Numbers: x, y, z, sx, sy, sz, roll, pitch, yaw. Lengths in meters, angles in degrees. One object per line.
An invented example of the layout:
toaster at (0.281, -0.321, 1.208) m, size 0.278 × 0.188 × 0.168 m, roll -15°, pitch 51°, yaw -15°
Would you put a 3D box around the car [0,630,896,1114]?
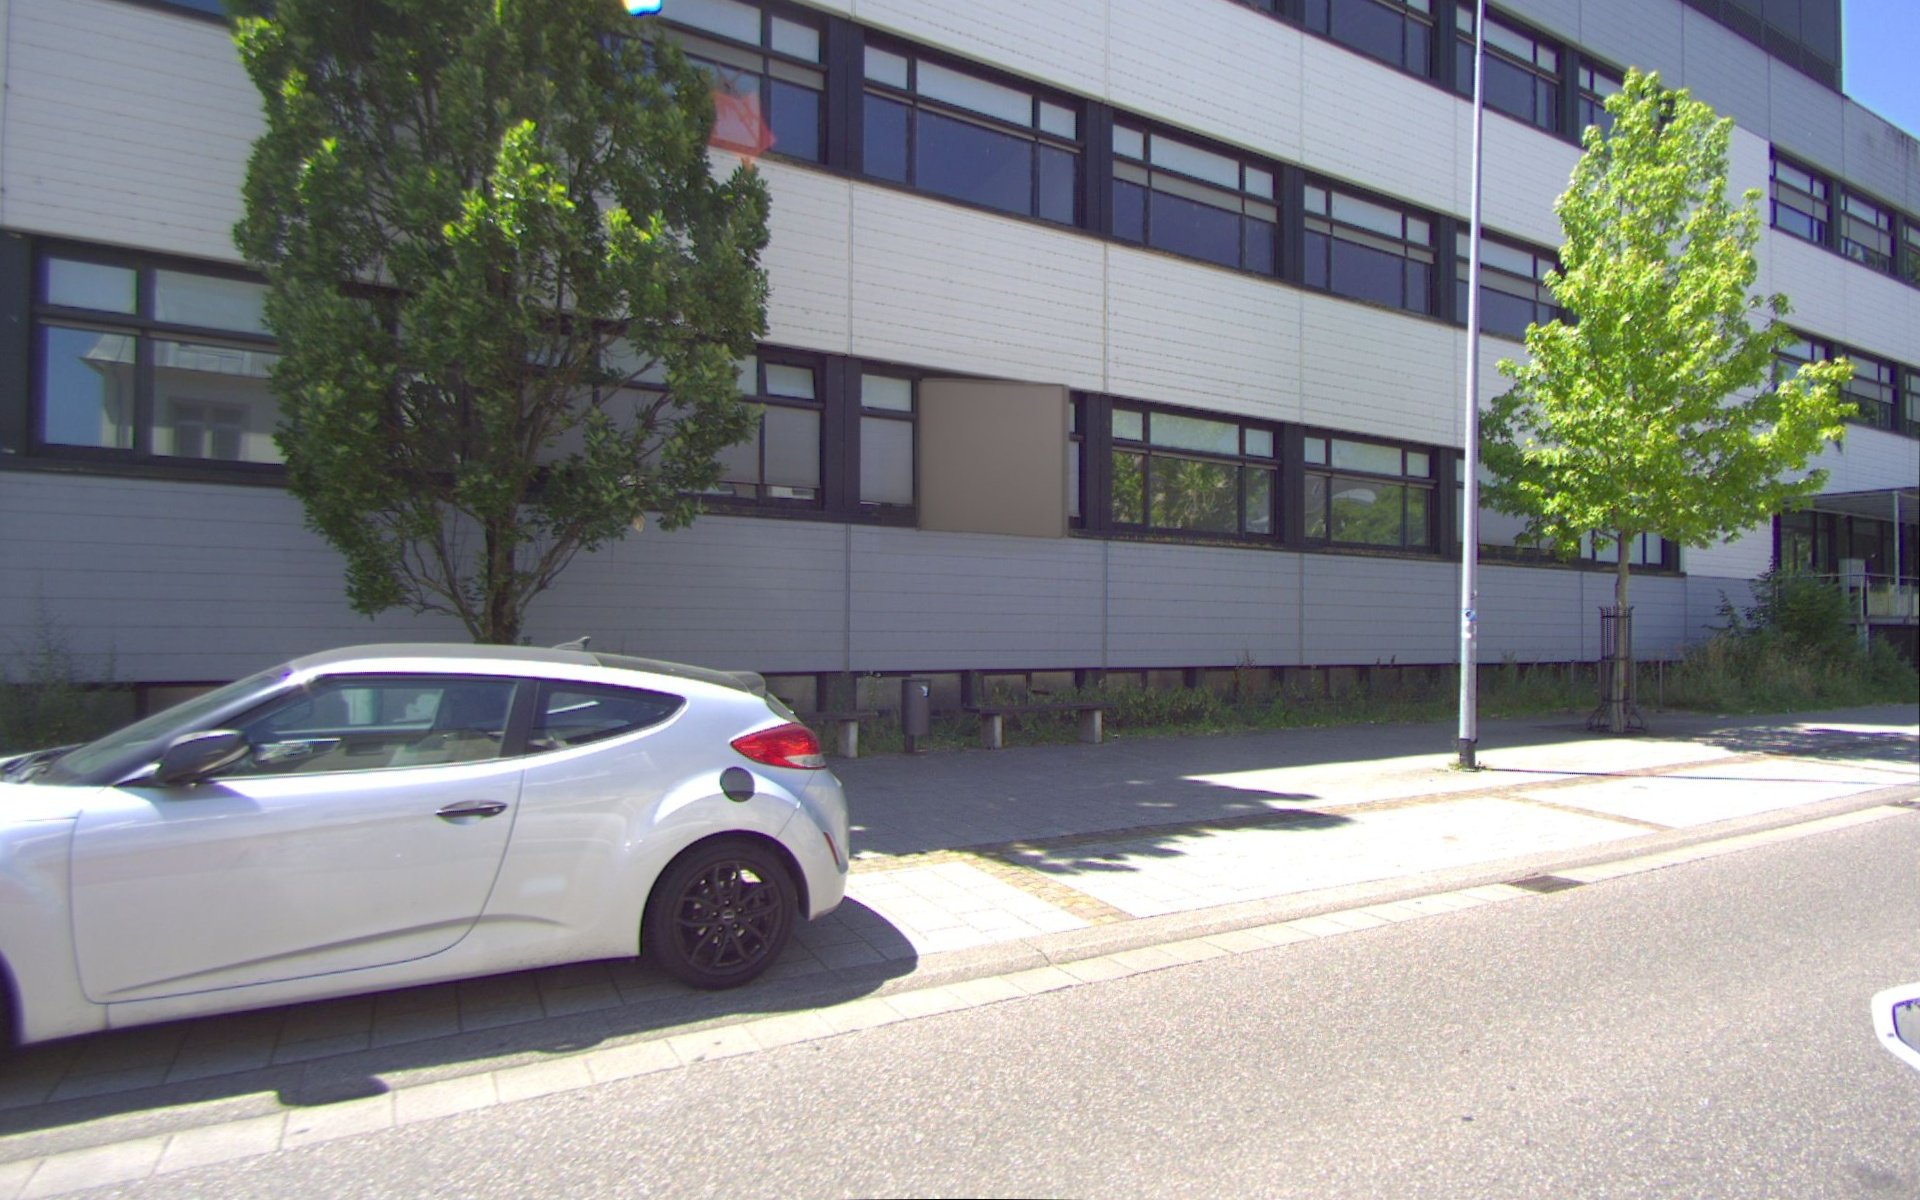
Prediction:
car at (-2.407, 0.883, 4.347) m, size 3.884 × 1.428 × 1.741 m, roll 2°, pitch 0°, yaw -28°
